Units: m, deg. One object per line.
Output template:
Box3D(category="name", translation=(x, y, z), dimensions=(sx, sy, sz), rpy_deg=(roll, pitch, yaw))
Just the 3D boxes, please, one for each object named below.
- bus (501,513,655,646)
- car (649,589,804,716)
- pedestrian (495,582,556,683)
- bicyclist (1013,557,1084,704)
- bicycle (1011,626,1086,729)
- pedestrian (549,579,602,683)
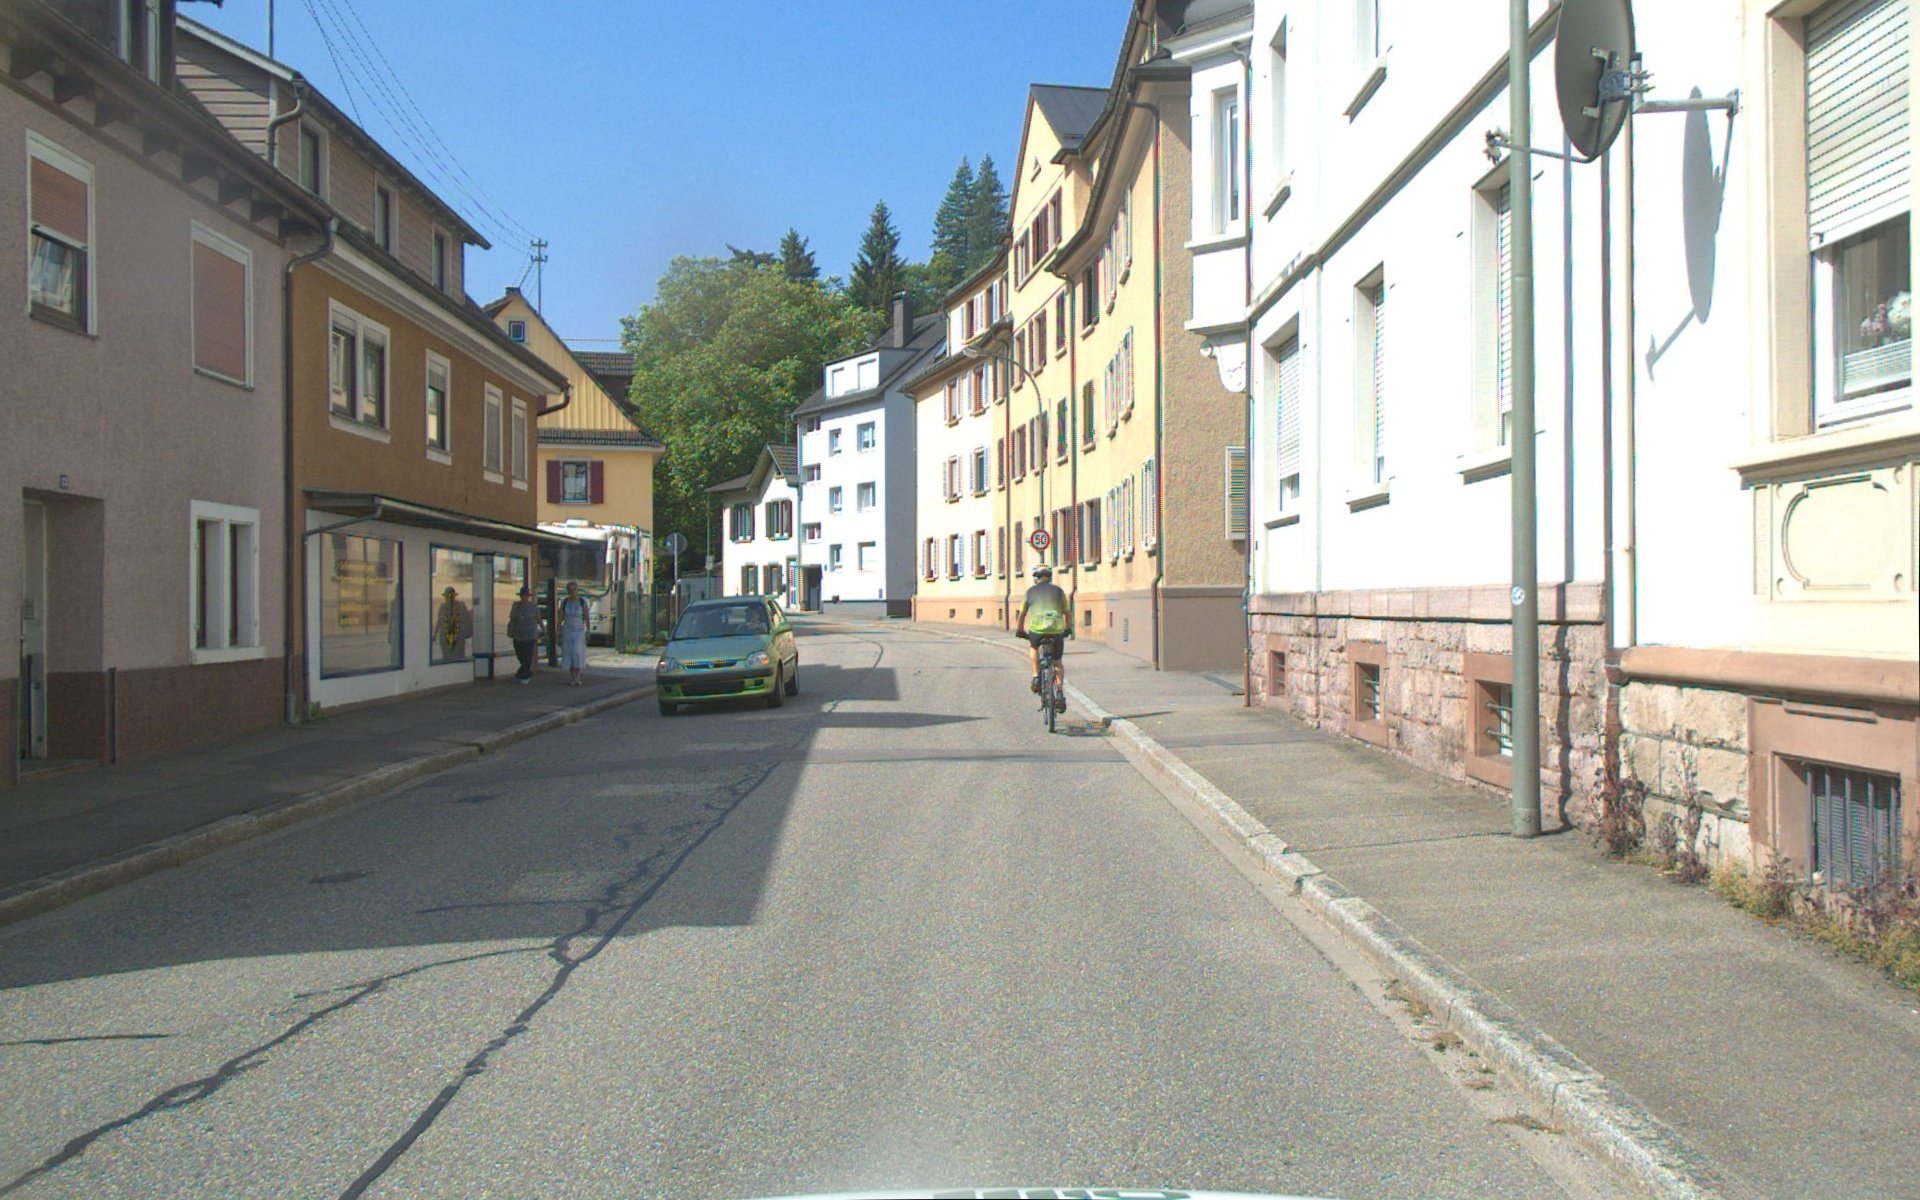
Box3D(category="bus", translation=(-10.402, -0.529, 46.008), dimensions=(2.765, 3.284, 9.028), rpy_deg=(1, 0, -4))
Box3D(category="car", translation=(-3.109, 0.647, 22.615), dimensions=(1.564, 1.490, 3.659), rpy_deg=(-4, 0, -1))
Box3D(category="pedestrian", translation=(-7.107, 0.525, 27.083), dimensions=(0.720, 1.592, 0.824), rpy_deg=(2, 0, -1))
Box3D(category="bicyclist", translation=(0.963, 0.329, 18.123), dimensions=(0.672, 1.558, 0.715), rpy_deg=(-1, 0, -3))
Box3D(category="bicycle", translation=(0.961, 0.833, 18.215), dimensions=(0.684, 1.053, 1.470), rpy_deg=(0, 0, -3))
Box3D(category="pedestrian", translation=(-6.288, 0.500, 27.075), dimensions=(0.626, 1.654, 0.777), rpy_deg=(2, 0, -1))
